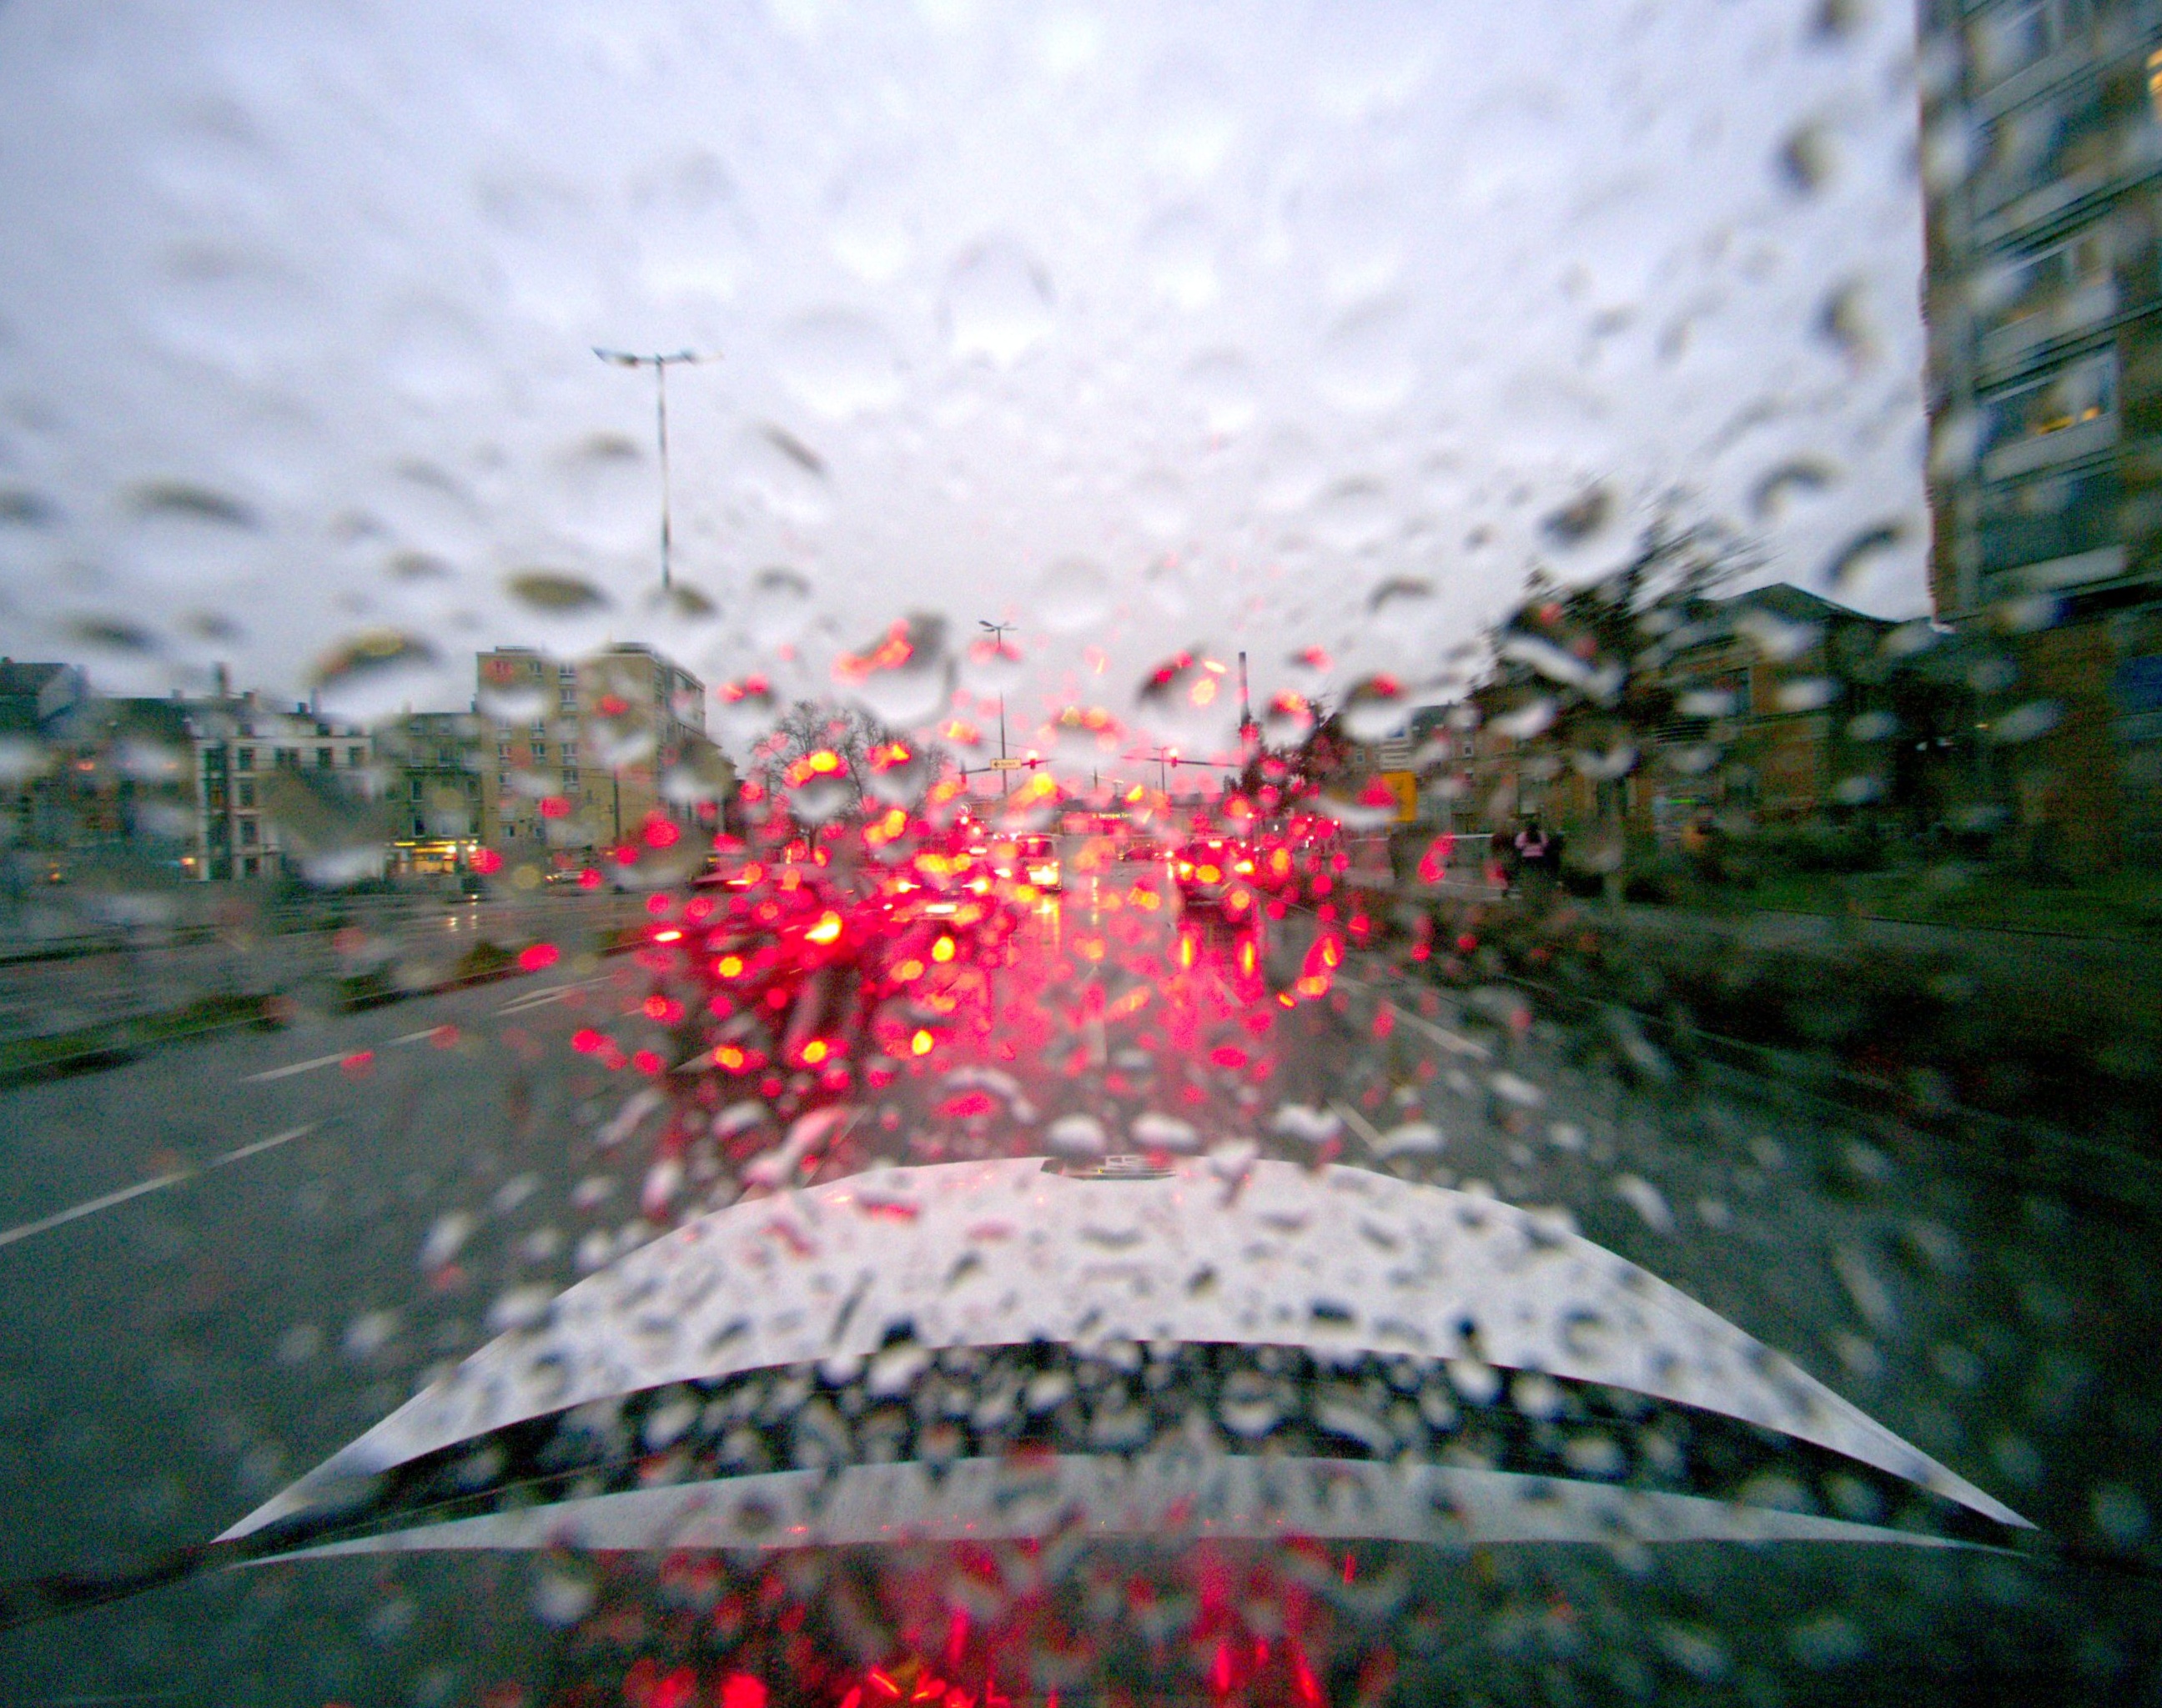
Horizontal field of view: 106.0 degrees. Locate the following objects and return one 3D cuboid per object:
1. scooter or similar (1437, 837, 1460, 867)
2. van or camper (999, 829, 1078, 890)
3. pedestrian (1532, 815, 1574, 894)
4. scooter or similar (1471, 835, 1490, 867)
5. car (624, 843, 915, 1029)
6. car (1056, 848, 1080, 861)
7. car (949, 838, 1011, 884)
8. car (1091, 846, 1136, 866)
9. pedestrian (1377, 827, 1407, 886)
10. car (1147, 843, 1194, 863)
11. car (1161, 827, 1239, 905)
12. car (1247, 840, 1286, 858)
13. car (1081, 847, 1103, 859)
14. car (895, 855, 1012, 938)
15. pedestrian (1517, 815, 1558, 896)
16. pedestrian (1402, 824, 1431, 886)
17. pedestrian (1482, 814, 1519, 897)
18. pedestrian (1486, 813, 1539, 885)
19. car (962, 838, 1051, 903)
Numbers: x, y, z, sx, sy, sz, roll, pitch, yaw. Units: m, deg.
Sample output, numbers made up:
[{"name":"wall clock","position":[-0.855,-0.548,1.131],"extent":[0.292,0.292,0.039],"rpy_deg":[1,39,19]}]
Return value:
[{"name":"scooter or similar","position":[15.541,-0.098,34.451],"extent":[0.507,1.213,1.392],"rpy_deg":[-2,0,40]},{"name":"van or camper","position":[-1.493,0.184,30.925],"extent":[2.190,2.109,4.996],"rpy_deg":[-1,0,6]},{"name":"pedestrian","position":[10.406,0.007,17.968],"extent":[0.711,1.687,0.765],"rpy_deg":[-3,0,29]},{"name":"scooter or similar","position":[15.914,-0.119,32.410],"extent":[0.507,1.213,1.392],"rpy_deg":[-2,0,31]},{"name":"car","position":[-2.884,0.649,8.475],"extent":[1.697,1.481,3.867],"rpy_deg":[1,0,-3]},{"name":"car","position":[-1.464,0.018,95.626],"extent":[1.800,1.446,4.016],"rpy_deg":[-2,0,14]},{"name":"car","position":[-4.217,0.271,34.559],"extent":[1.877,1.772,4.004],"rpy_deg":[-2,0,3]},{"name":"car","position":[3.177,0.185,79.119],"extent":[3.987,1.772,1.993],"rpy_deg":[-3,0,-10]},{"name":"pedestrian","position":[10.376,0.075,27.164],"extent":[0.800,1.929,0.765],"rpy_deg":[0,3,29]},{"name":"car","position":[7.823,-0.062,70.815],"extent":[1.974,1.514,4.025],"rpy_deg":[-2,1,42]},{"name":"car","position":[3.078,0.255,21.442],"extent":[1.768,1.800,4.433],"rpy_deg":[-1,1,7]},{"name":"car","position":[18.248,-0.524,79.898],"extent":[1.974,1.602,4.025],"rpy_deg":[-3,0,42]},{"name":"car","position":[1.444,-0.122,102.099],"extent":[1.800,1.446,4.016],"rpy_deg":[-2,0,14]},{"name":"car","position":[-2.372,0.739,16.085],"extent":[1.653,1.404,4.119],"rpy_deg":[0,0,0]},{"name":"pedestrian","position":[9.879,0.023,17.637],"extent":[0.661,1.687,0.616],"rpy_deg":[-4,1,29]},{"name":"pedestrian","position":[11.143,0.027,27.045],"extent":[0.800,2.013,0.765],"rpy_deg":[0,3,29]},{"name":"pedestrian","position":[9.284,0.030,18.019],"extent":[0.578,1.781,0.774],"rpy_deg":[-4,-1,29]},{"name":"pedestrian","position":[11.094,-0.120,20.951],"extent":[0.852,1.791,0.746],"rpy_deg":[-2,0,-13]},{"name":"car","position":[-1.933,0.398,22.426],"extent":[1.778,1.600,4.545],"rpy_deg":[0,0,3]}]
